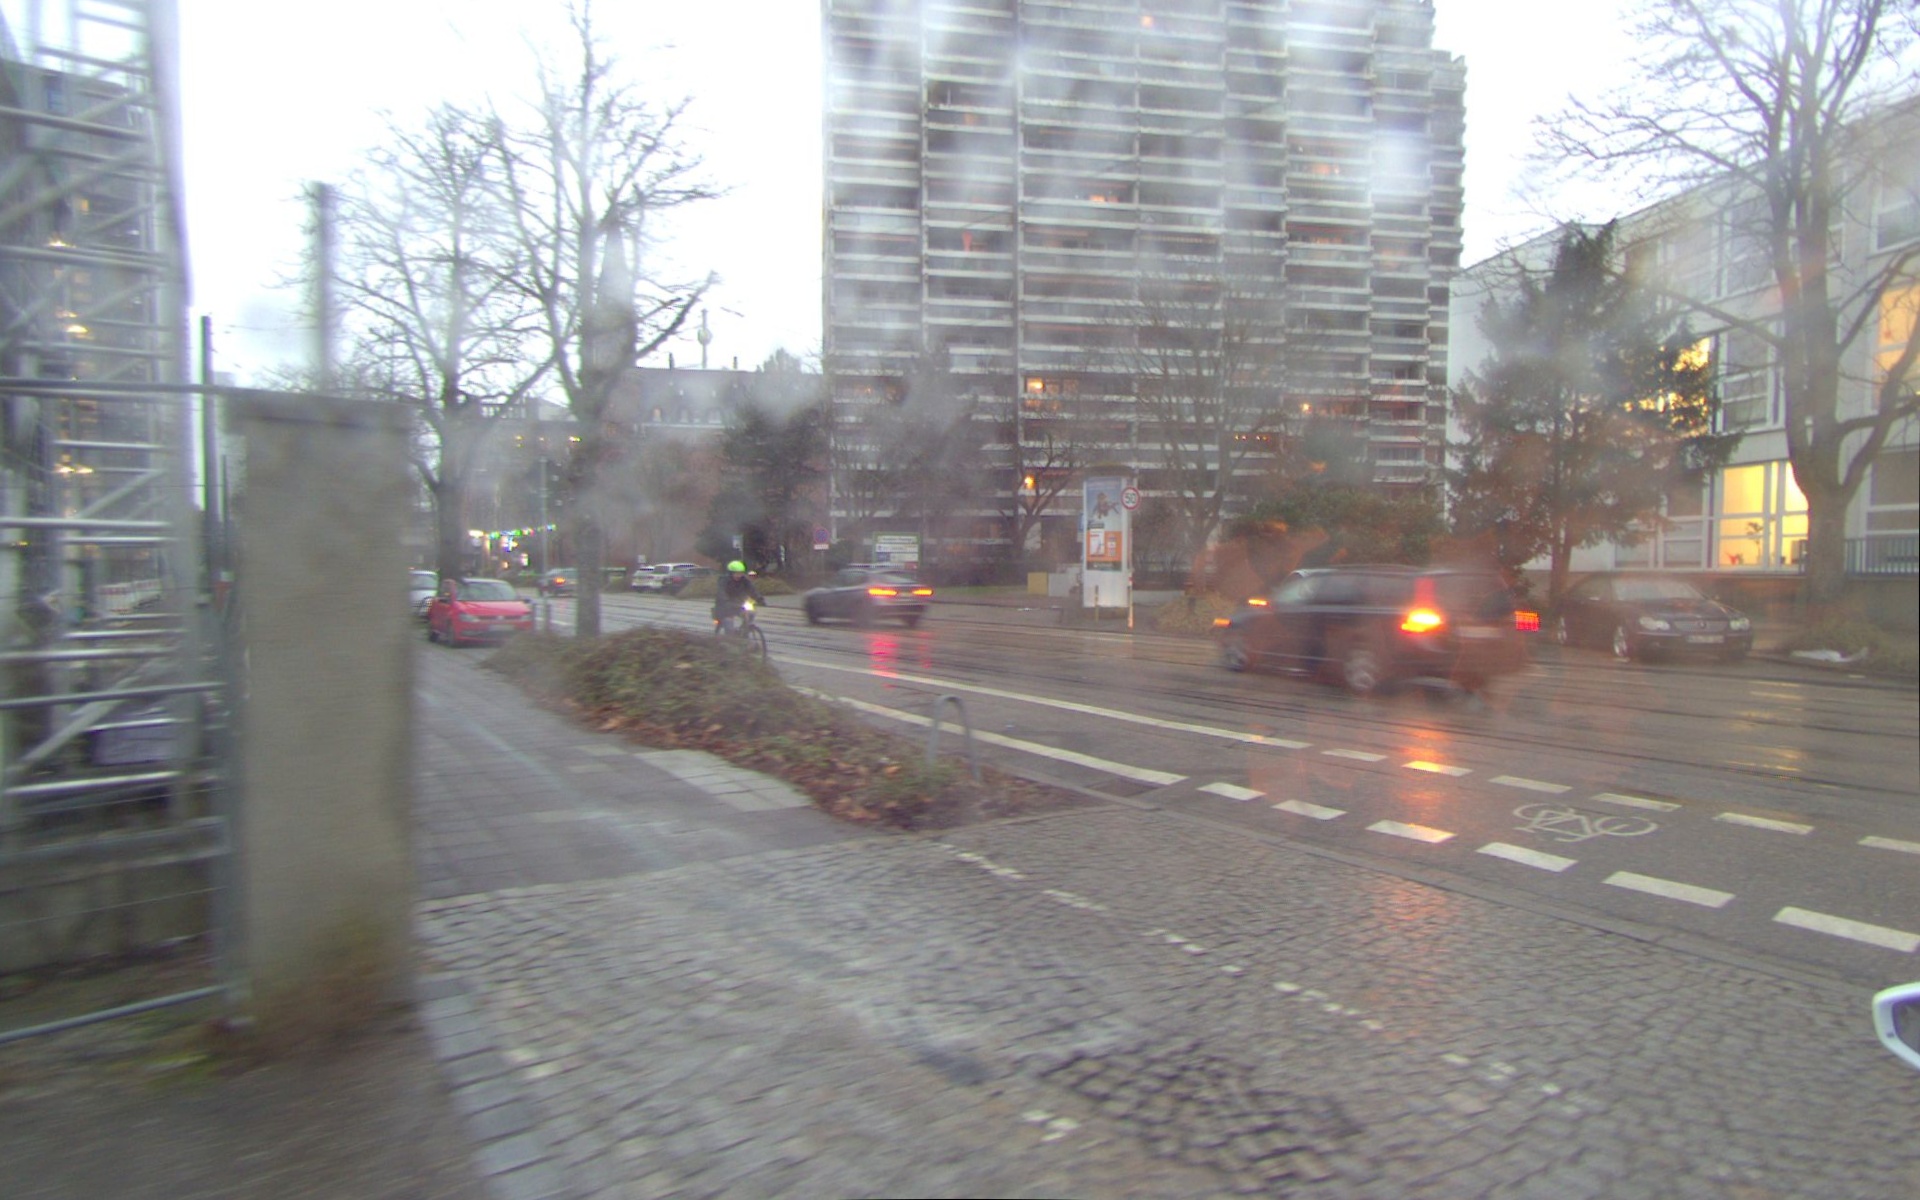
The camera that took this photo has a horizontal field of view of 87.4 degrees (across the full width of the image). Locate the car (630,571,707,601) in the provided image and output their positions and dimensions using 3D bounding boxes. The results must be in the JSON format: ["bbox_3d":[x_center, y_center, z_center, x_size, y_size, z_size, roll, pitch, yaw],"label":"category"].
[{"bbox_3d":[-17.083,-0.825,58.893,3.953,1.662,1.984,-1,1,-31],"label":"car"}]

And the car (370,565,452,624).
[{"bbox_3d":[-15.955,-0.189,29.136,1.736,1.605,3.700,-1,1,-34],"label":"car"}]

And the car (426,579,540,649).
[{"bbox_3d":[-10.588,0.248,22.161,1.736,1.406,3.700,-1,1,-34],"label":"car"}]

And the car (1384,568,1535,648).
[{"bbox_3d":[10.132,0.107,20.705,1.818,1.482,4.002,0,1,12],"label":"car"}]

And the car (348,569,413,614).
[{"bbox_3d":[-21.901,-0.347,37.903,1.848,1.615,3.962,-1,1,-34],"label":"car"}]

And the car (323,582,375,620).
[{"bbox_3d":[-27.517,0.019,45.175,1.848,1.615,3.962,-1,1,-34],"label":"car"}]

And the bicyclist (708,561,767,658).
[{"bbox_3d":[-3.494,0.130,15.747,0.651,1.466,0.841,-1,1,-33],"label":"bicyclist"}]

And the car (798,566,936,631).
[{"bbox_3d":[-2.562,-0.072,26.872,1.696,1.600,4.333,-1,1,-37],"label":"car"}]

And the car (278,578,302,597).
[{"bbox_3d":[-58.424,-1.097,87.590,1.736,1.605,3.700,-1,1,-34],"label":"car"}]

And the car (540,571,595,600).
[{"bbox_3d":[-20.511,-0.768,52.424,1.749,1.430,3.960,-1,1,-35],"label":"car"}]

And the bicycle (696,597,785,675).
[{"bbox_3d":[-3.463,0.518,15.713,0.702,1.111,2.010,-1,1,-33],"label":"bicycle"}]

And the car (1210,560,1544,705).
[{"bbox_3d":[5.143,0.313,13.118,1.724,1.565,4.280,0,1,-16],"label":"car"}]

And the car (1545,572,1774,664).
[{"bbox_3d":[11.867,0.236,17.382,1.818,1.397,4.002,0,1,12],"label":"car"}]

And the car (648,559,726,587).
[{"bbox_3d":[-15.282,-1.482,56.263,3.953,1.506,1.658,-1,1,-31],"label":"car"}]

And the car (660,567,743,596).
[{"bbox_3d":[-13.658,-0.963,53.151,3.953,1.506,1.658,-1,1,-31],"label":"car"}]

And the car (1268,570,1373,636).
[{"bbox_3d":[8.445,0.028,23.851,1.818,1.418,4.002,0,1,12],"label":"car"}]
